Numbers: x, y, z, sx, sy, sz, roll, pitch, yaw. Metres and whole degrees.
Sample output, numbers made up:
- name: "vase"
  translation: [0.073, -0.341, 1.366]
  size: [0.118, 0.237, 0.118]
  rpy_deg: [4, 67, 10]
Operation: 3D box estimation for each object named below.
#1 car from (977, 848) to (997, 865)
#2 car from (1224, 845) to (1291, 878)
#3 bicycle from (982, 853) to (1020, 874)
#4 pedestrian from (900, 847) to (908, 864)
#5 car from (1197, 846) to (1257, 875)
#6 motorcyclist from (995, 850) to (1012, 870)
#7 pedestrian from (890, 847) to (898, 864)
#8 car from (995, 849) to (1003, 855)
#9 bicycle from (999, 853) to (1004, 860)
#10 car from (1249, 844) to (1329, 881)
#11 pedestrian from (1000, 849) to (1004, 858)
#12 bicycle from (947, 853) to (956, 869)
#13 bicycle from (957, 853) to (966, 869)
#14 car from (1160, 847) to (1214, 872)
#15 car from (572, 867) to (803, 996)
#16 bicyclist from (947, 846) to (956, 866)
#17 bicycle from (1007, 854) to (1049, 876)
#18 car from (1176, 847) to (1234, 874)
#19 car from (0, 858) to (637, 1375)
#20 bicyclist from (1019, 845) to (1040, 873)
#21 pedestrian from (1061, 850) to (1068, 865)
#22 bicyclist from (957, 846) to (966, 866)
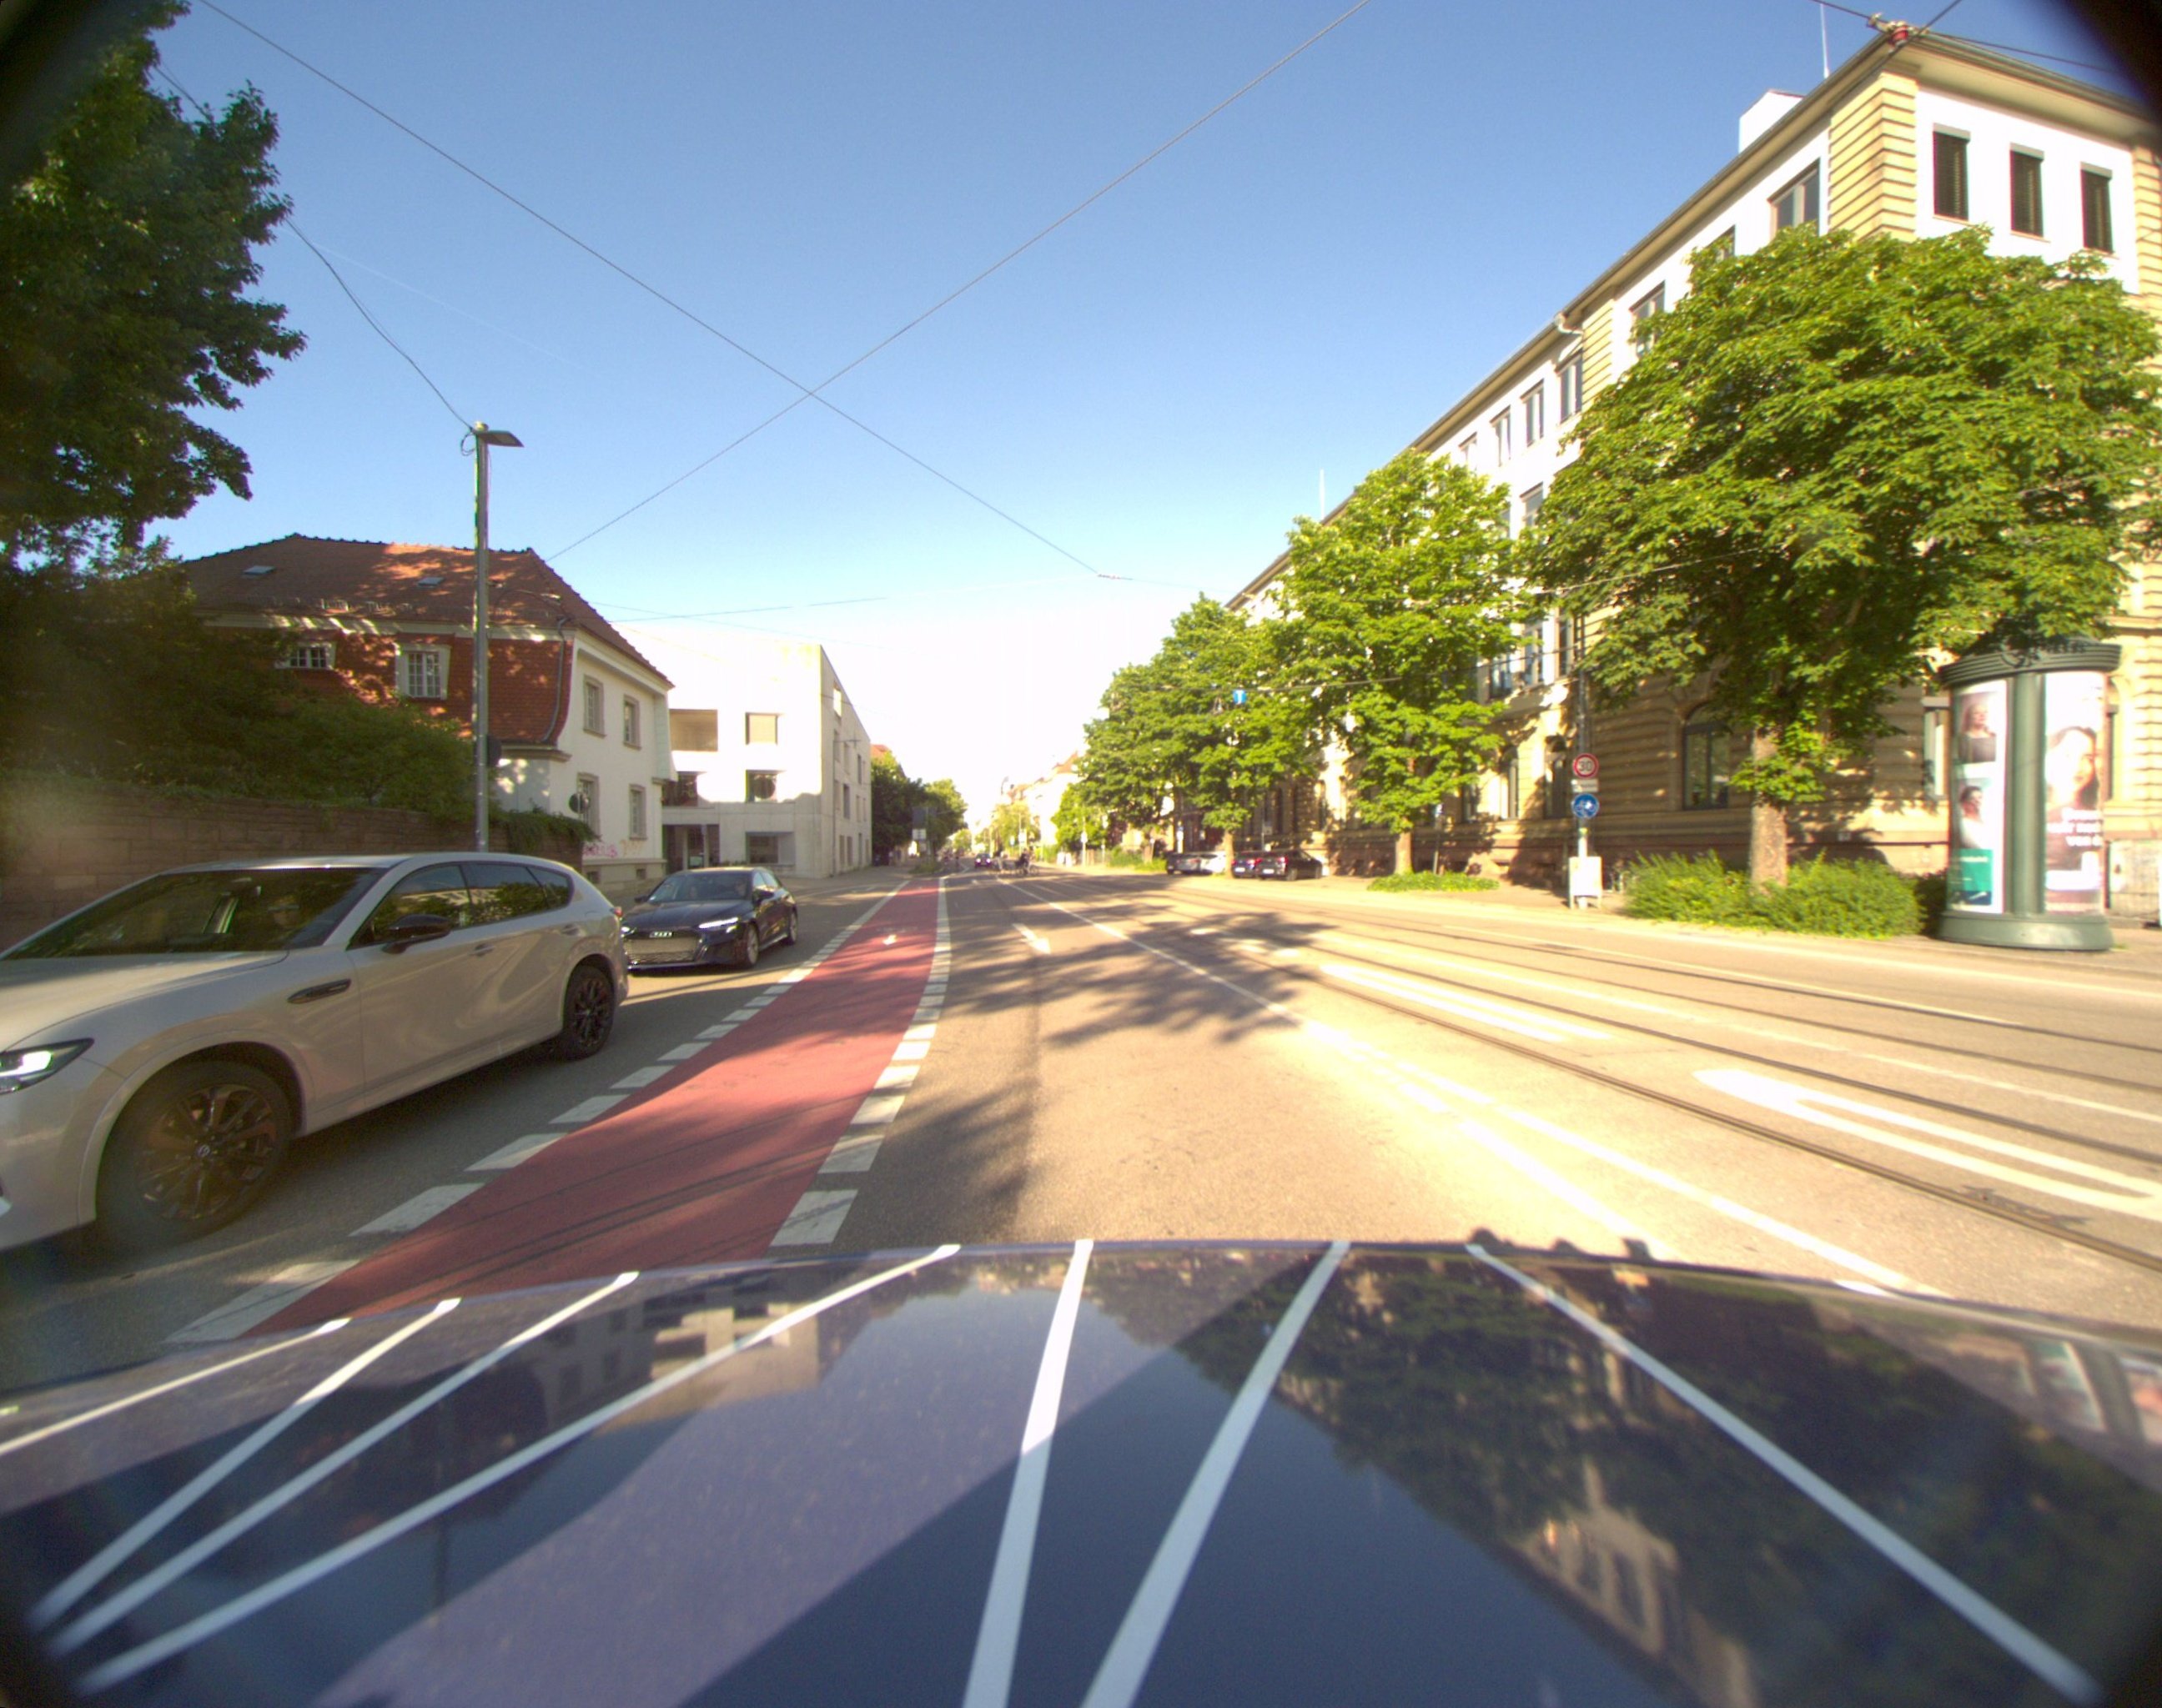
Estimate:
- name: "car"
  translation: [-8.913, 0.210, 72.311]
  size: [1.649, 1.552, 3.648]
  rpy_deg: [-2, 1, -5]
- name: "car"
  translation: [9.421, 0.383, 40.414]
  size: [3.657, 1.552, 1.645]
  rpy_deg: [-3, 1, -43]
- name: "bicycle"
  translation: [-5.047, 0.582, 48.226]
  size: [2.462, 1.243, 0.674]
  rpy_deg: [-1, 1, -41]
- name: "pedestrian"
  translation: [-17.706, 0.152, 75.851]
  size: [0.676, 1.638, 0.817]
  rpy_deg: [-1, 1, -9]
- name: "car"
  translation: [8.892, 0.381, 46.129]
  size: [3.657, 1.552, 1.645]
  rpy_deg: [-3, 1, -43]
- name: "motorcyclist"
  translation: [-4.909, 0.358, 48.343]
  size: [0.855, 1.243, 0.674]
  rpy_deg: [-1, 1, -41]
- name: "pedestrian"
  translation: [-18.631, 0.166, 75.619]
  size: [0.676, 1.638, 0.817]
  rpy_deg: [-1, 1, -9]
- name: "car"
  translation: [-21.177, -0.463, 195.718]
  size: [1.650, 1.552, 3.646]
  rpy_deg: [-2, 1, -12]
- name: "bicycle"
  translation: [-14.516, 0.381, 139.325]
  size: [0.676, 1.243, 2.456]
  rpy_deg: [-1, 1, 0]
- name: "car"
  translation: [10.385, 0.400, 37.753]
  size: [4.189, 1.621, 1.841]
  rpy_deg: [-3, 1, -43]
- name: "pedestrian"
  translation: [-14.525, -0.063, 139.337]
  size: [0.675, 1.638, 0.817]
  rpy_deg: [-1, 1, 0]
- name: "bicycle"
  translation: [-10.912, 0.588, 64.084]
  size: [0.676, 1.243, 2.454]
  rpy_deg: [0, 1, -8]
- name: "bicycle"
  translation: [-9.953, 0.581, 63.276]
  size: [0.676, 1.243, 2.454]
  rpy_deg: [0, 1, -8]
- name: "car"
  translation: [7.238, 0.353, 51.771]
  size: [3.657, 1.552, 1.645]
  rpy_deg: [-3, 1, -43]
- name: "car"
  translation: [-5.619, 0.994, 11.481]
  size: [1.789, 1.425, 3.997]
  rpy_deg: [-2, 1, -8]
- name: "bicyclist"
  translation: [-10.900, 0.160, 63.984]
  size: [0.676, 1.638, 1.028]
  rpy_deg: [0, 1, -8]
- name: "bicycle"
  translation: [-3.105, 0.629, 44.668]
  size: [2.461, 1.243, 0.674]
  rpy_deg: [-1, 1, -37]
- name: "car"
  translation: [7.913, 0.381, 48.360]
  size: [3.657, 1.552, 1.645]
  rpy_deg: [-3, 1, -43]
- name: "car"
  translation: [-4.805, 0.934, 4.473]
  size: [1.946, 1.682, 4.529]
  rpy_deg: [-2, 1, -5]
- name: "bicyclist"
  translation: [-3.046, 0.301, 44.707]
  size: [1.031, 1.638, 0.674]
  rpy_deg: [-1, 1, -37]
- name: "pedestrian"
  translation: [-1.826, 0.396, 83.992]
  size: [0.676, 1.638, 0.817]
  rpy_deg: [-1, 1, -9]
- name: "bicyclist"
  translation: [-9.963, 0.182, 63.334]
  size: [0.676, 1.638, 1.028]
  rpy_deg: [0, 1, -8]
